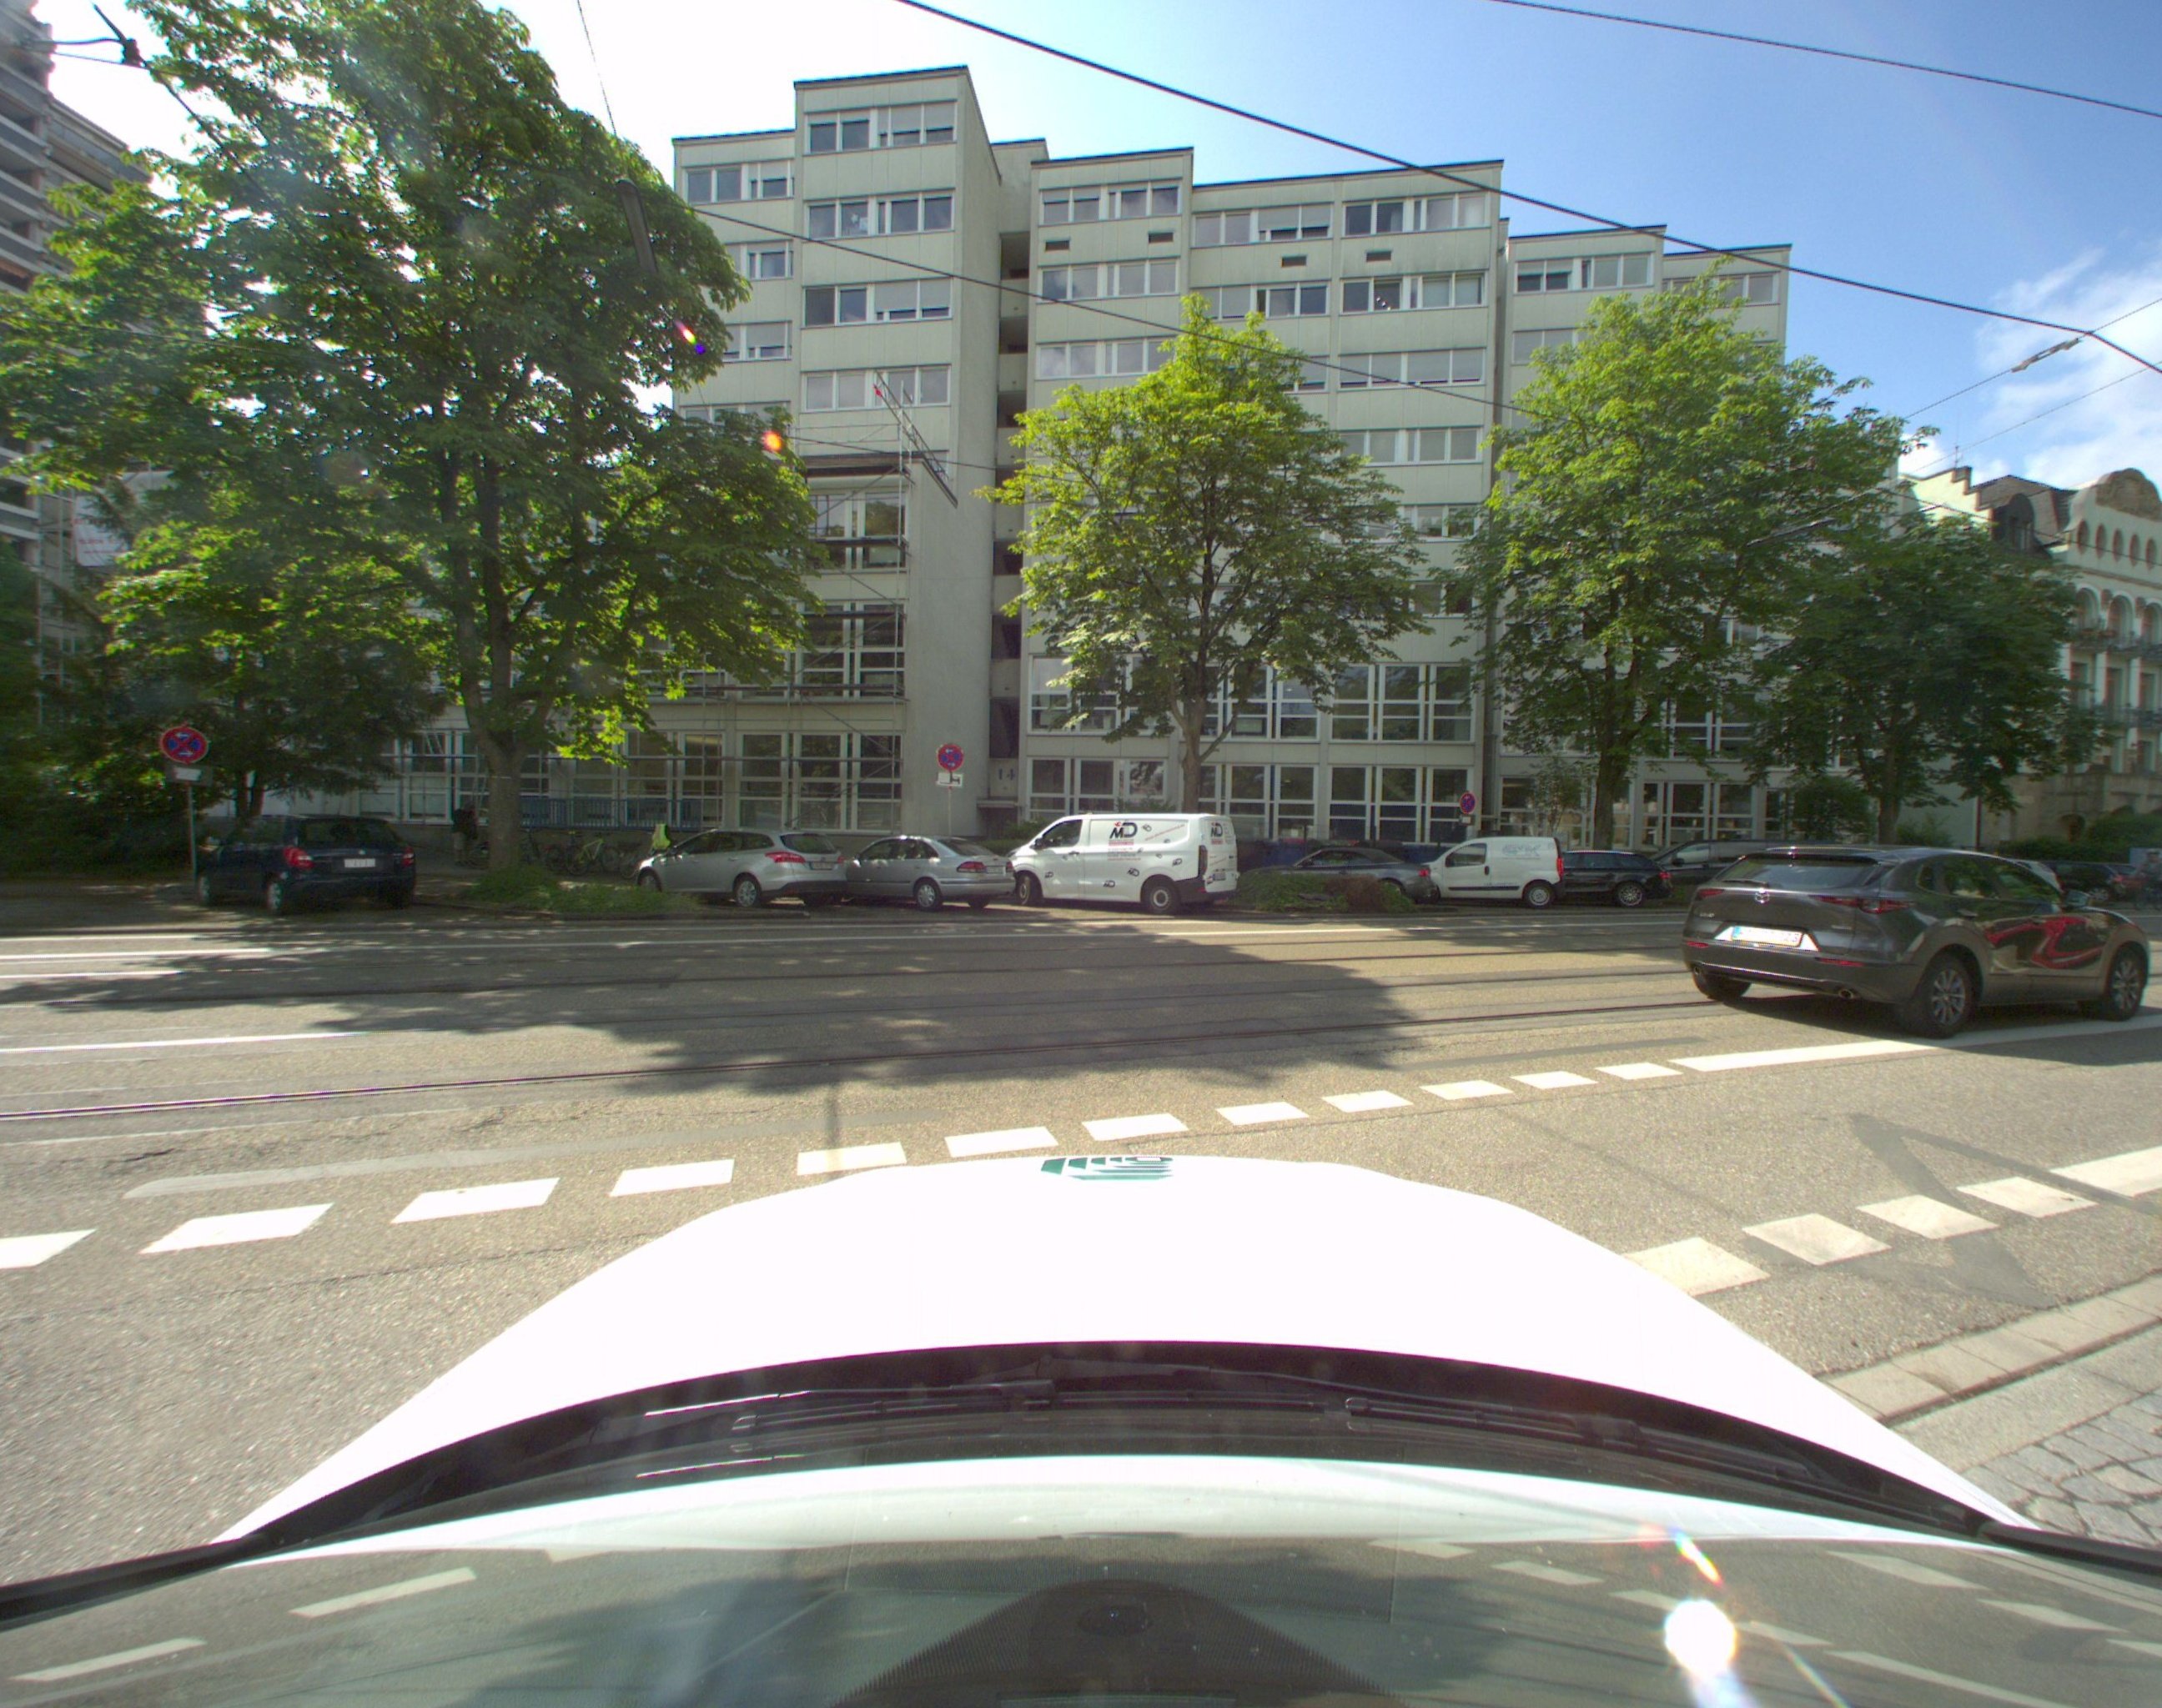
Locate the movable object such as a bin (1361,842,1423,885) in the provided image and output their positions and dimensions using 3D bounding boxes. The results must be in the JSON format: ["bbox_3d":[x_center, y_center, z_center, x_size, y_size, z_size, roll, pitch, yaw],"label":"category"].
[{"bbox_3d":[9.884,0.319,25.903,1.441,1.327,1.160,1,-2,-19],"label":"movable object such as a bin"}]

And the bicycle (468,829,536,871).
[{"bbox_3d":[-15.441,-0.119,21.760,0.537,1.080,1.583,-1,1,6],"label":"bicycle"}]

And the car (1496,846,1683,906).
[{"bbox_3d":[12.990,0.537,21.123,3.950,1.418,1.770,0,-1,26],"label":"car"}]

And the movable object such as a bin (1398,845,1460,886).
[{"bbox_3d":[11.271,0.374,26.394,1.441,1.283,1.164,1,-2,-19],"label":"movable object such as a bin"}]

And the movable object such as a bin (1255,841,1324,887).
[{"bbox_3d":[6.406,0.321,25.047,1.540,1.364,1.381,1,-2,-22],"label":"movable object such as a bin"}]

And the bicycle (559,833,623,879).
[{"bbox_3d":[-12.579,0.031,20.957,0.537,1.121,1.583,-1,1,6],"label":"bicycle"}]

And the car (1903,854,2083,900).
[{"bbox_3d":[31.236,0.747,28.042,3.760,1.484,1.708,0,-1,27],"label":"car"}]

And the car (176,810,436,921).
[{"bbox_3d":[-12.429,0.098,13.055,3.837,1.523,1.753,2,2,26],"label":"car"}]

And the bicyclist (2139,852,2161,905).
[{"bbox_3d":[32.616,0.755,24.595,0.743,1.576,0.638,1,0,-24],"label":"bicyclist"}]

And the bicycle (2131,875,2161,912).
[{"bbox_3d":[32.516,1.186,24.555,2.004,1.040,0.652,1,0,-26],"label":"bicycle"}]

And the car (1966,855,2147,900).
[{"bbox_3d":[34.453,0.792,28.925,3.758,1.484,1.708,0,-1,32],"label":"car"}]

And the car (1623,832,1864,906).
[{"bbox_3d":[18.907,0.403,23.602,5.104,1.954,1.928,0,-1,26],"label":"car"}]

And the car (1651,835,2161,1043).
[{"bbox_3d":[7.813,0.633,7.650,4.349,1.511,1.784,0,3,-19],"label":"car"}]

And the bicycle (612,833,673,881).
[{"bbox_3d":[-11.109,0.049,20.692,0.537,1.162,1.583,-1,1,6],"label":"bicycle"}]

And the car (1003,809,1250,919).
[{"bbox_3d":[0.893,0.111,16.715,4.626,1.997,1.981,2,1,30],"label":"car"}]

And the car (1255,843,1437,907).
[{"bbox_3d":[6.296,0.464,19.449,3.953,1.418,1.731,0,-1,20],"label":"car"}]

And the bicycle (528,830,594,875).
[{"bbox_3d":[-13.363,-0.048,20.976,0.537,1.113,1.583,-1,1,6],"label":"bicycle"}]

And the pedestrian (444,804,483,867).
[{"bbox_3d":[-16.259,-0.489,21.462,0.663,1.624,0.637,2,2,-26],"label":"pedestrian"}]

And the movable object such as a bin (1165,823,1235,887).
[{"bbox_3d":[3.481,0.049,23.895,1.540,1.782,1.381,1,-2,-22],"label":"movable object such as a bin"}]

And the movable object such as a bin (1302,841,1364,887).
[{"bbox_3d":[7.885,0.335,25.545,1.442,1.381,1.188,1,-2,-21],"label":"movable object such as a bin"}]

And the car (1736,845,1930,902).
[{"bbox_3d":[22.262,0.558,24.326,3.950,1.593,1.751,0,-1,28],"label":"car"}]

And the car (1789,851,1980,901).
[{"bbox_3d":[24.996,0.655,25.554,3.949,1.484,1.751,0,-1,30],"label":"car"}]

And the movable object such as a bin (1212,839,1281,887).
[{"bbox_3d":[4.945,0.280,24.454,1.540,1.364,1.381,1,-2,-22],"label":"movable object such as a bin"}]

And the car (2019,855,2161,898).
[{"bbox_3d":[37.564,0.800,29.764,3.920,1.484,1.857,0,-1,29],"label":"car"}]

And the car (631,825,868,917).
[{"bbox_3d":[-6.289,0.246,15.406,4.141,1.500,1.833,2,1,26],"label":"car"}]

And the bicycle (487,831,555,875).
[{"bbox_3d":[-14.607,-0.051,21.286,0.537,1.092,1.583,-1,1,6],"label":"bicycle"}]

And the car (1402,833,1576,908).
[{"bbox_3d":[9.981,0.377,20.039,3.668,1.693,1.771,0,-1,28],"label":"car"}]

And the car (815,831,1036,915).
[{"bbox_3d":[-3.142,0.305,16.298,4.118,1.449,1.833,2,1,30],"label":"car"}]
